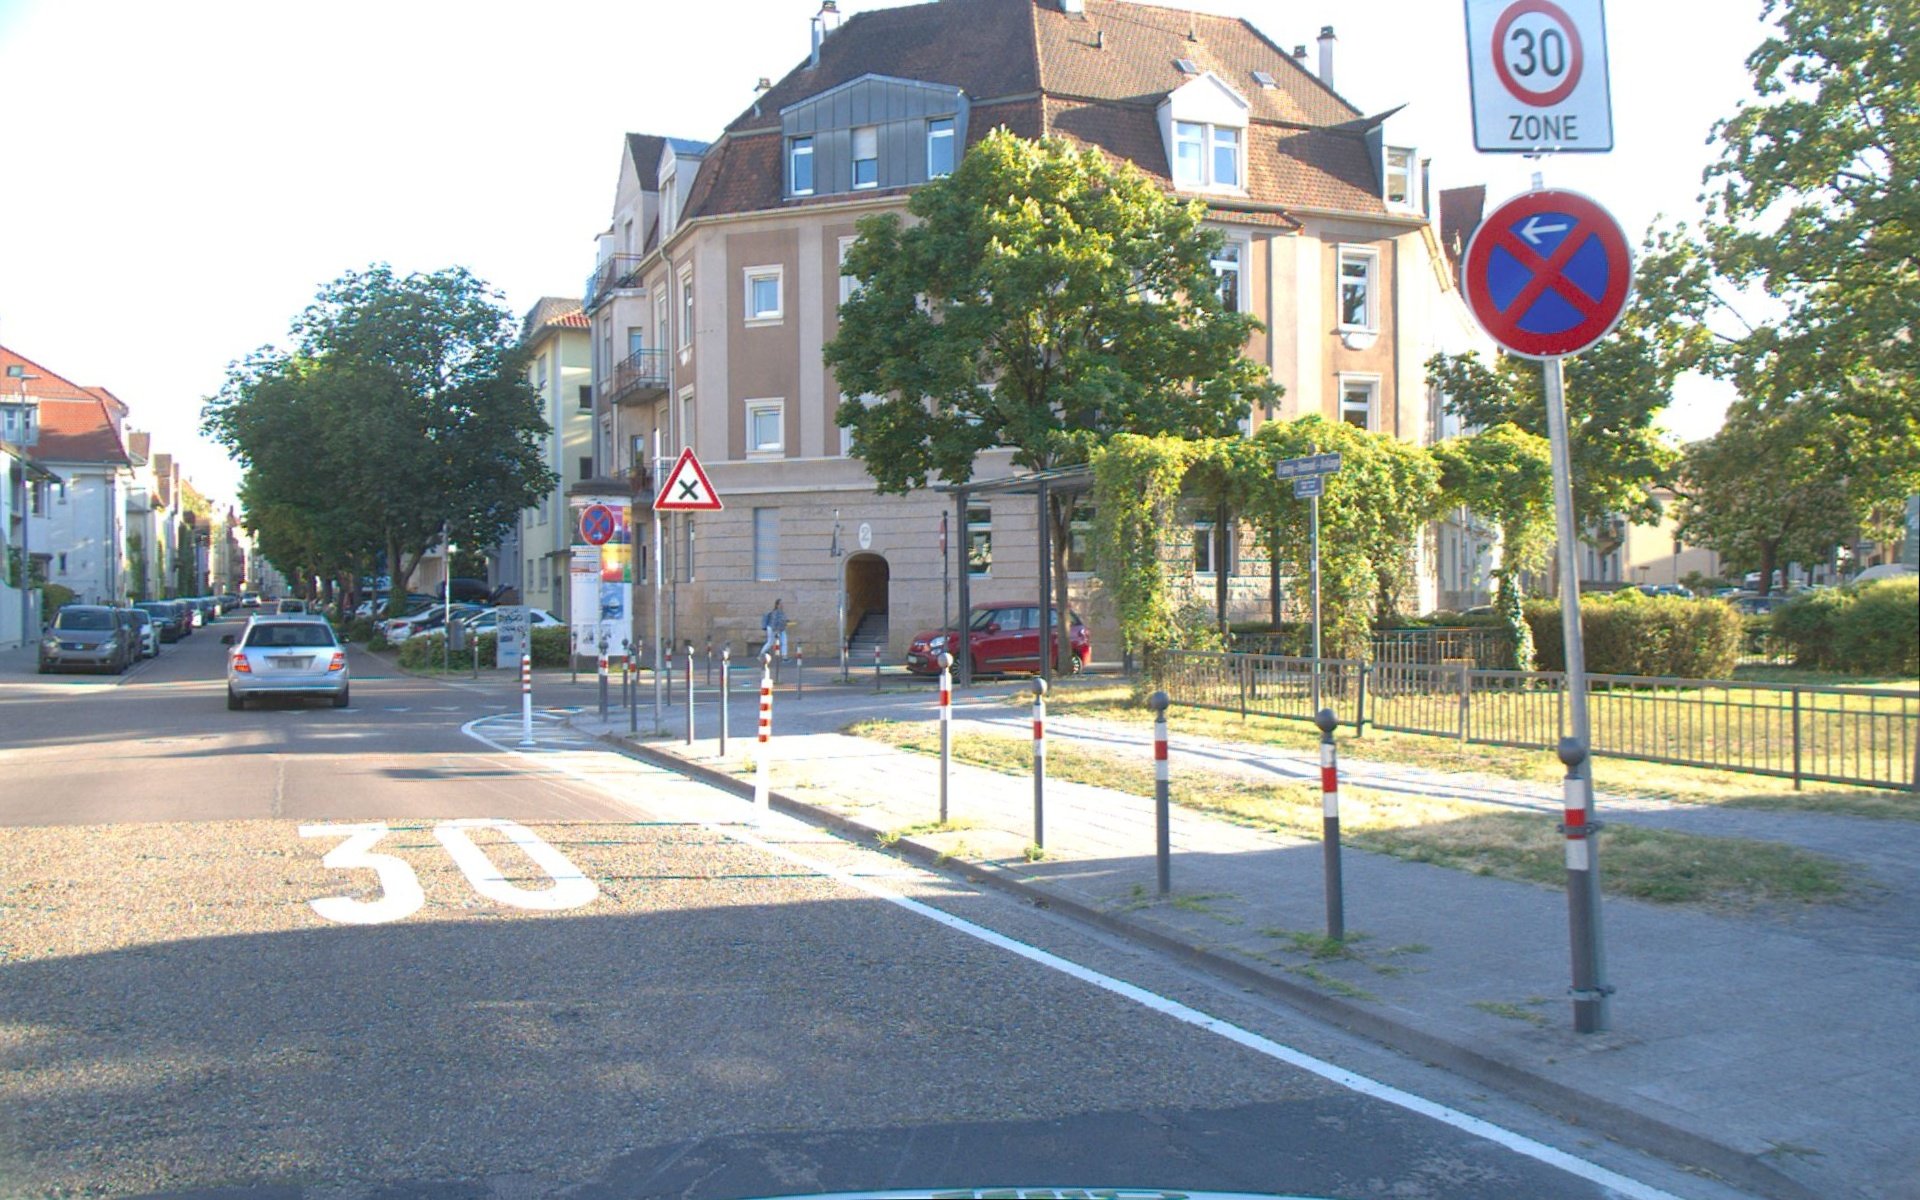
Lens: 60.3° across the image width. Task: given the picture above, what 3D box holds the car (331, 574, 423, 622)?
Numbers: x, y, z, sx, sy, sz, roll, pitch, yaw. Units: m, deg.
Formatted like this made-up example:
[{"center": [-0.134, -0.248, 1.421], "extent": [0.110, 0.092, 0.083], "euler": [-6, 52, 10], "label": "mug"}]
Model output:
[{"center": [-38.379, -0.150, 108.884], "extent": [5.473, 3.020, 2.452], "euler": [-1, 1, -26], "label": "car"}]

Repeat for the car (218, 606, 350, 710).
[{"center": [-10.800, 0.885, 26.640], "extent": [1.790, 1.498, 4.191], "euler": [-1, -1, -20], "label": "car"}]

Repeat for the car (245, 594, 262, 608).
[{"center": [-81.599, 0.123, 191.080], "extent": [1.506, 1.500, 4.246], "euler": [0, -1, -19], "label": "car"}]

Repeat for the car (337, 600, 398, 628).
[{"center": [-37.984, 0.866, 106.087], "extent": [3.549, 1.688, 1.637], "euler": [-1, 1, -25], "label": "car"}]

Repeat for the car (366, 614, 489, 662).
[{"center": [-19.647, 1.375, 61.019], "extent": [4.136, 1.585, 1.860], "euler": [-1, 0, -25], "label": "car"}]

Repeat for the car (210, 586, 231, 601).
[{"center": [-71.309, -0.671, 159.583], "extent": [1.775, 1.411, 3.581], "euler": [0, 0, -23], "label": "car"}]

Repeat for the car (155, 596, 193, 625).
[{"center": [-42.210, 0.580, 88.849], "extent": [1.636, 1.526, 3.728], "euler": [0, 0, -22], "label": "car"}]

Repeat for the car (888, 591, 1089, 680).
[{"center": [0.617, 0.725, 36.070], "extent": [4.017, 1.771, 1.800], "euler": [-1, 2, -22], "label": "car"}]

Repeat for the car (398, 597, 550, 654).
[{"center": [-14.289, 0.729, 48.606], "extent": [4.089, 1.473, 1.660], "euler": [-2, 1, -25], "label": "car"}]

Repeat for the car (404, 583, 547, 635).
[{"center": [-16.505, 0.288, 56.351], "extent": [4.468, 1.669, 1.860], "euler": [-1, 0, -25], "label": "car"}]

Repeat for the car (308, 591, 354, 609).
[{"center": [-56.049, 0.009, 147.337], "extent": [3.791, 1.508, 1.793], "euler": [-1, 1, -23], "label": "car"}]

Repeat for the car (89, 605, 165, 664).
[{"center": [-24.668, 0.985, 49.079], "extent": [1.860, 1.619, 4.057], "euler": [0, 0, -25], "label": "car"}]

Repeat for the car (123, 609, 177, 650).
[{"center": [-31.575, 1.114, 64.544], "extent": [1.831, 1.524, 4.617], "euler": [0, 0, -25], "label": "car"}]

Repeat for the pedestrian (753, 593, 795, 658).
[{"center": [-4.666, 0.630, 41.589], "extent": [0.801, 1.571, 0.743], "euler": [2, 2, 15], "label": "pedestrian"}]

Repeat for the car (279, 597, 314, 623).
[{"center": [-39.561, 0.619, 98.662], "extent": [1.790, 1.498, 4.191], "euler": [-1, -1, -20], "label": "car"}]

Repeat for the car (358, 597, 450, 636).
[{"center": [-24.308, 0.691, 72.294], "extent": [3.682, 1.585, 1.712], "euler": [-1, 0, -24], "label": "car"}]

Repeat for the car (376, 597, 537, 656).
[{"center": [-15.464, 0.785, 50.818], "extent": [4.428, 1.552, 1.935], "euler": [-2, 2, -29], "label": "car"}]

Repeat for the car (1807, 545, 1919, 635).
[{"center": [30.456, -0.315, 51.945], "extent": [6.561, 2.793, 2.307], "euler": [-1, 0, 39], "label": "car"}]

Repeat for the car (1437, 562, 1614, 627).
[{"center": [14.109, -0.165, 41.278], "extent": [4.017, 1.560, 1.800], "euler": [-1, 1, -22], "label": "car"}]

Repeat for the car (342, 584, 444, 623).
[{"center": [-27.398, 0.158, 79.985], "extent": [4.564, 1.869, 1.940], "euler": [0, 0, -24], "label": "car"}]

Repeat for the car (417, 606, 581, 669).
[{"center": [-12.288, 0.966, 44.111], "extent": [3.996, 1.532, 1.848], "euler": [-1, 0, -25], "label": "car"}]

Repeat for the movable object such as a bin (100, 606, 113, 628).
[{"center": [-44.495, 0.876, 86.231], "extent": [0.520, 1.127, 0.585], "euler": [0, -1, -23], "label": "movable object such as a bin"}]

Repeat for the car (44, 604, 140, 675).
[{"center": [-20.996, 0.910, 40.143], "extent": [1.860, 1.619, 4.057], "euler": [0, 0, -25], "label": "car"}]

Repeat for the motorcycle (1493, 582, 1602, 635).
[{"center": [17.439, 0.262, 49.220], "extent": [0.843, 1.513, 3.192], "euler": [0, -1, -34], "label": "motorcycle"}]
